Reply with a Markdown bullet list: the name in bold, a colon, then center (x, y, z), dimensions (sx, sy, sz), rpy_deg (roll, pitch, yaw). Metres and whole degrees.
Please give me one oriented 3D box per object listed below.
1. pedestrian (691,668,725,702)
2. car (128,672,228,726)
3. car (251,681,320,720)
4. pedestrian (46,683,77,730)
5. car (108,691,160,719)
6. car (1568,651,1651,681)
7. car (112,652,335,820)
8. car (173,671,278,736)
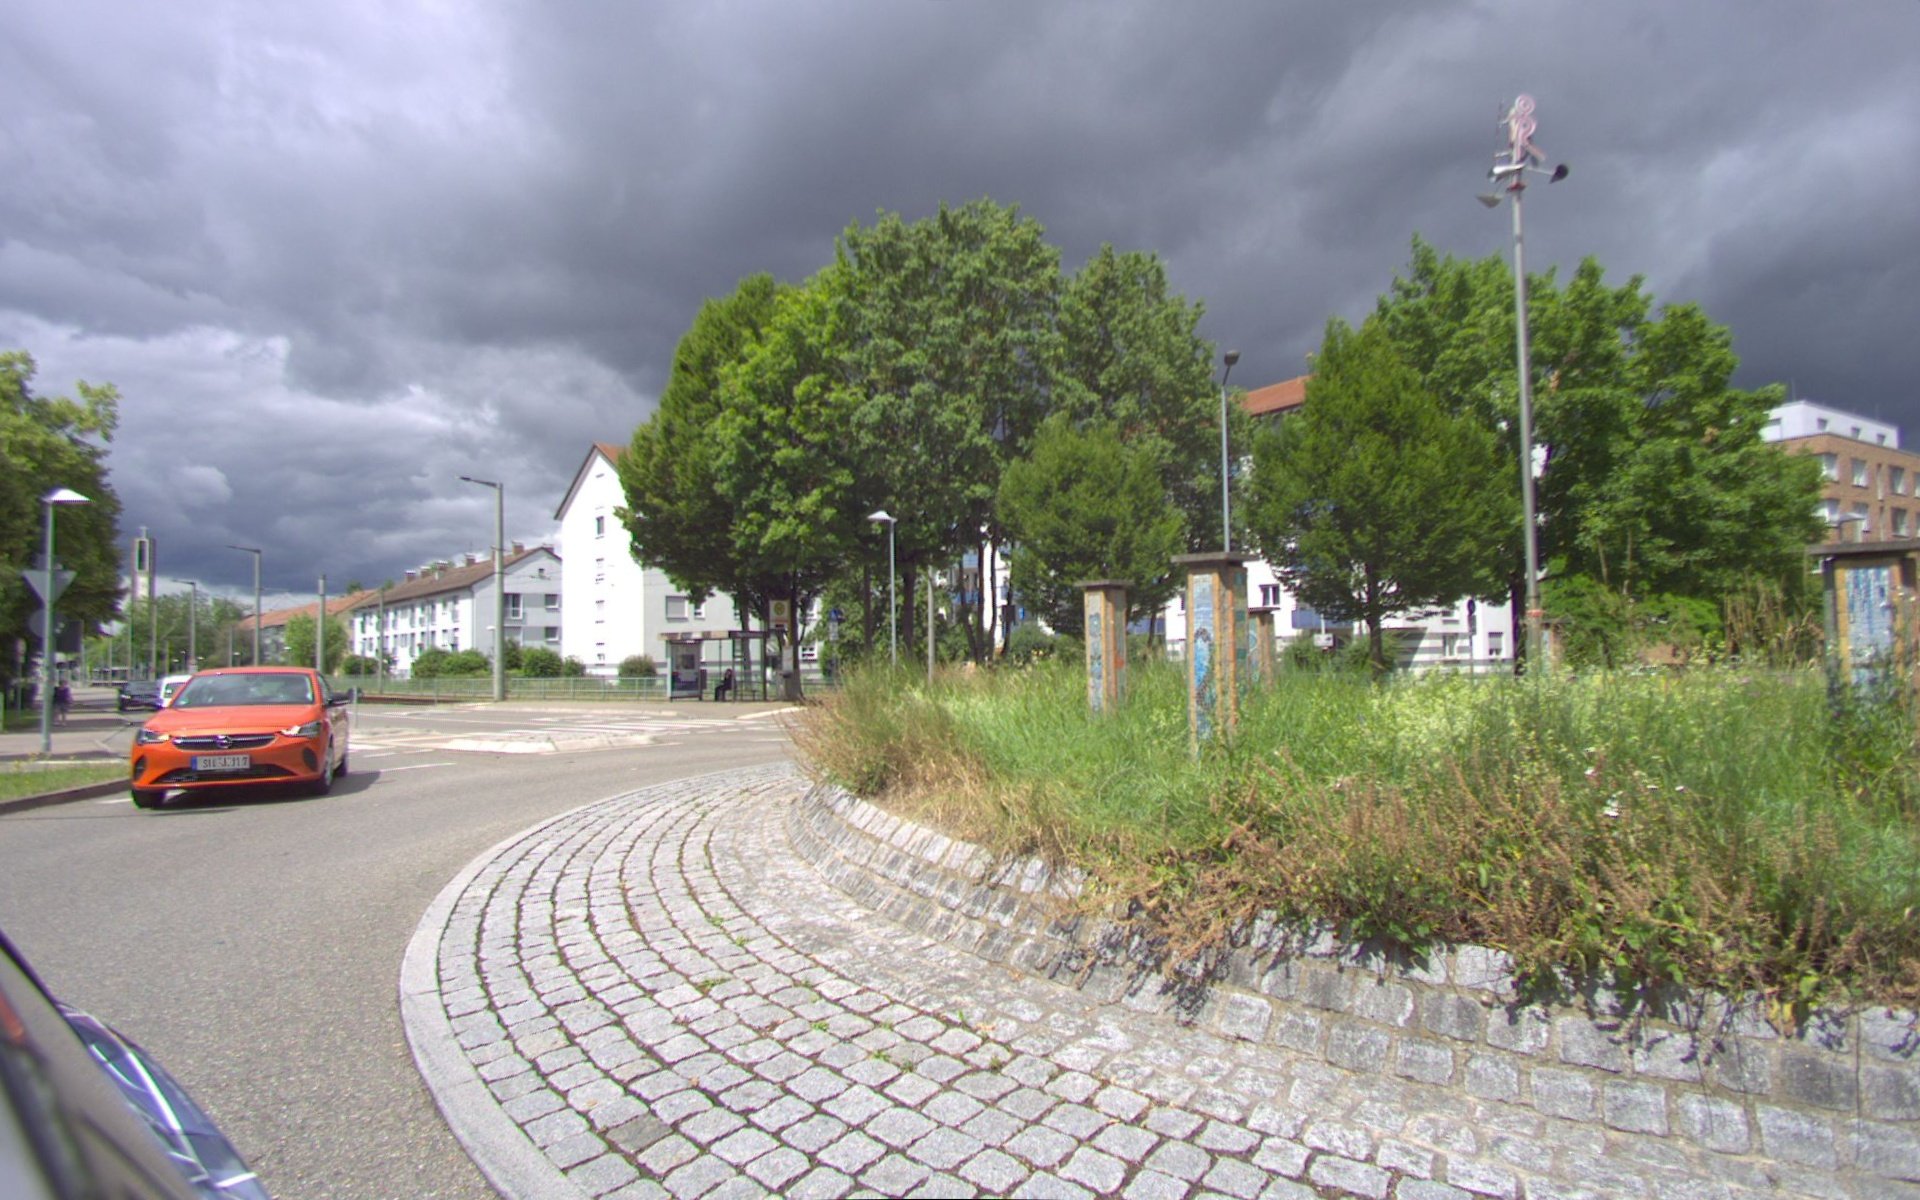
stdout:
- **pedestrian**: center (-8.841, 2.972, 35.527), dimensions (0.911, 1.144, 0.790), rpy_deg (-4, -4, 42)
- **car**: center (-25.504, 3.180, 32.972), dimensions (4.001, 1.620, 1.971), rpy_deg (-5, -5, 44)
- **car**: center (-28.986, 4.257, 43.454), dimensions (1.831, 1.466, 4.392), rpy_deg (0, -3, -42)
- **pedestrian**: center (-32.631, 3.844, 36.759), dimensions (0.831, 1.673, 0.675), rpy_deg (-4, -5, 40)
- **car**: center (-43.714, 5.517, 53.632), dimensions (1.888, 1.327, 4.009), rpy_deg (2, -5, -36)
- **car**: center (42.094, 4.281, 65.639), dimensions (1.967, 1.822, 4.009), rpy_deg (1, -4, -35)
- **car**: center (-8.280, 1.424, 11.705), dimensions (1.737, 1.570, 4.011), rpy_deg (2, -4, -32)
- **car**: center (-17.749, 2.439, 24.392), dimensions (1.737, 1.408, 4.006), rpy_deg (3, -5, -40)
